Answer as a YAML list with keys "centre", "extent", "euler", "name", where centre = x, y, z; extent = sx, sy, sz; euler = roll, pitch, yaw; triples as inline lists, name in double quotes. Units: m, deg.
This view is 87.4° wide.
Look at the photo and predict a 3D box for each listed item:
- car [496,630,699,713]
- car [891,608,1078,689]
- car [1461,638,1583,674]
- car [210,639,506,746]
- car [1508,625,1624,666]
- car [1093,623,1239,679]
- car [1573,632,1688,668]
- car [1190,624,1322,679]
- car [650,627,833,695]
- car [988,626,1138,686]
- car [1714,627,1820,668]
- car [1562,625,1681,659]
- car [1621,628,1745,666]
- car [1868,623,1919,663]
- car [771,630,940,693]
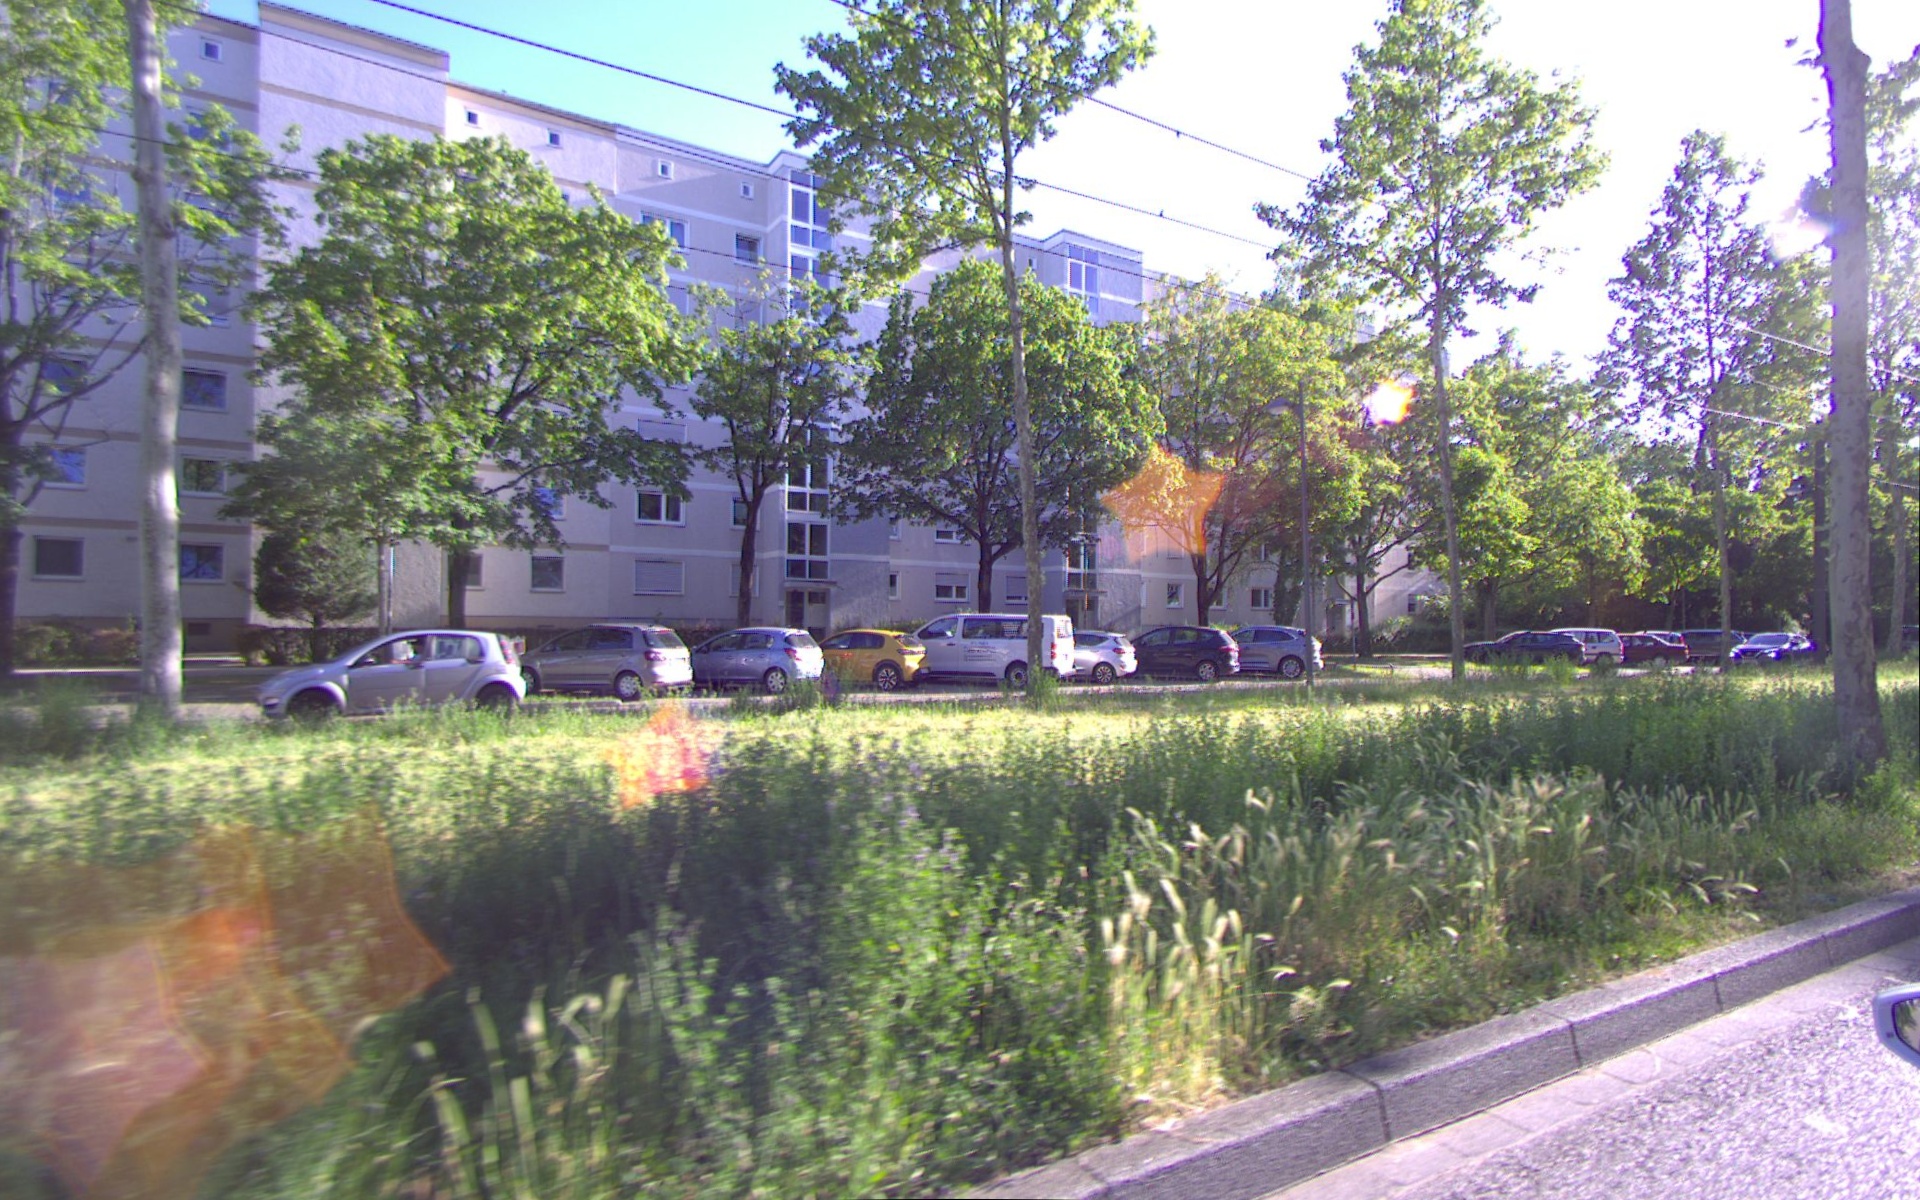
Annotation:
- centre: [-7.880, 1.505, 21.897]
  extent: [4.004, 1.668, 1.652]
  euler: [0, -2, 19]
  name: "car"
- centre: [0.664, 1.256, 27.143]
  extent: [4.706, 2.033, 1.891]
  euler: [0, 0, 22]
  name: "car"
- centre: [22.799, 2.245, 40.893]
  extent: [4.049, 1.355, 1.796]
  euler: [0, -1, 18]
  name: "car"
- centre: [-9.371, 1.390, 15.911]
  extent: [3.805, 1.505, 1.638]
  euler: [2, -3, -31]
  name: "car"
- centre: [25.754, 1.915, 42.842]
  extent: [3.900, 1.697, 1.788]
  euler: [0, -2, 18]
  name: "car"
- centre: [6.257, 1.509, 30.481]
  extent: [4.009, 1.551, 1.816]
  euler: [-1, 0, 27]
  name: "car"
- centre: [29.533, 2.196, 44.366]
  extent: [3.843, 1.507, 1.796]
  euler: [0, -2, 18]
  name: "car"
- centre: [9.617, 1.636, 32.598]
  extent: [4.005, 1.628, 1.995]
  euler: [-1, 0, 20]
  name: "car"
- centre: [-5.211, 1.408, 23.994]
  extent: [4.004, 1.502, 1.652]
  euler: [0, -2, 19]
  name: "car"
- centre: [2.953, 1.579, 28.990]
  extent: [4.009, 1.451, 1.577]
  euler: [2, 1, 27]
  name: "car"
- centre: [31.482, 1.852, 39.179]
  extent: [4.039, 1.525, 1.915]
  euler: [1, -4, -31]
  name: "car"
- centre: [30.534, 1.940, 46.506]
  extent: [4.401, 1.501, 1.617]
  euler: [0, -2, 24]
  name: "car"
- centre: [33.954, 2.179, 47.311]
  extent: [4.397, 1.697, 1.796]
  euler: [0, -2, 18]
  name: "car"
- centre: [53.635, 2.407, 56.916]
  extent: [4.853, 2.121, 1.638]
  euler: [1, 1, -28]
  name: "car"
- centre: [-2.648, 1.520, 25.500]
  extent: [4.005, 1.451, 1.579]
  euler: [0, -1, 20]
  name: "car"
